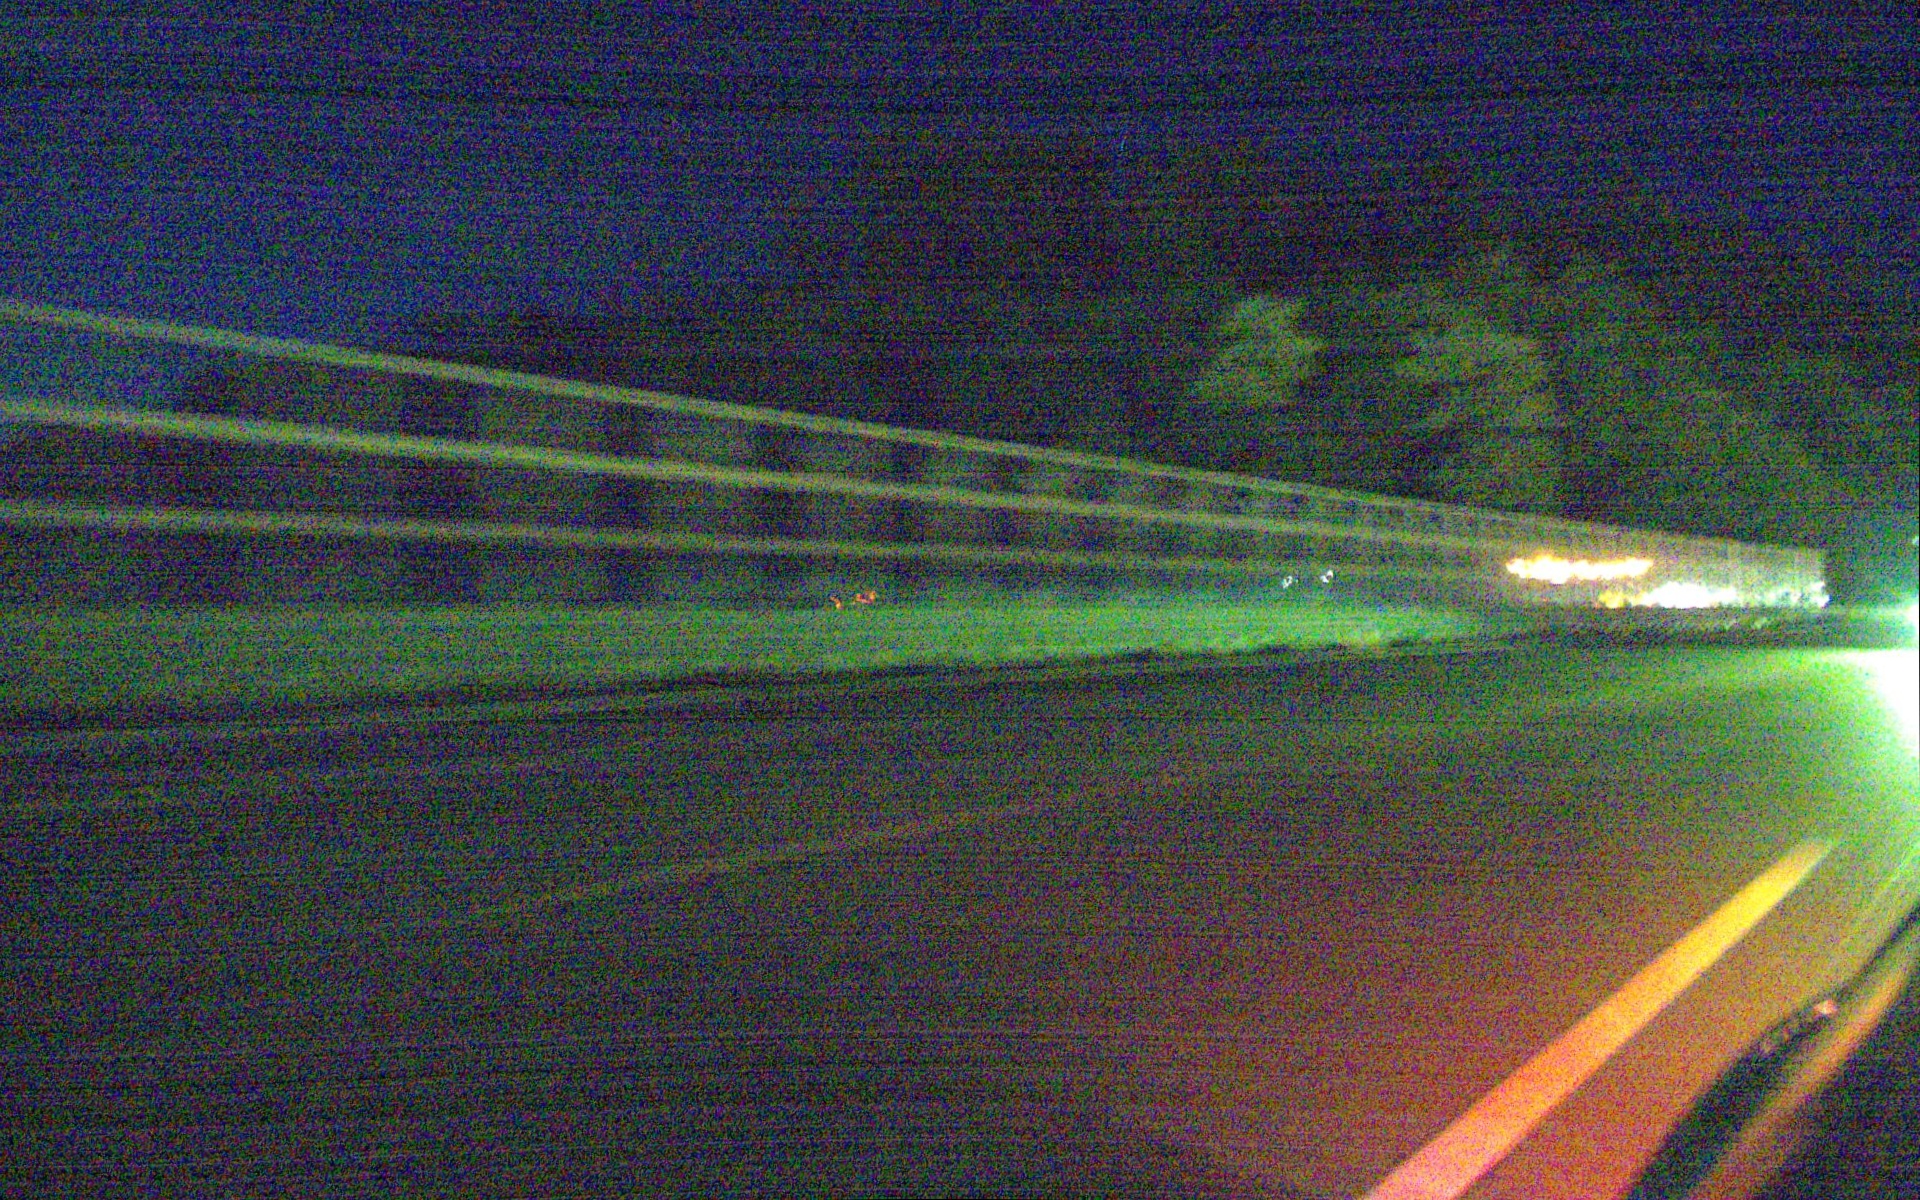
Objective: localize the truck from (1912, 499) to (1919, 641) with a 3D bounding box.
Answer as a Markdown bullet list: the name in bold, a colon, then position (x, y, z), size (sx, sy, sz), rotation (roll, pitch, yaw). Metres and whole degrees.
- **truck**: position (36.615, -0.860, 33.740), size (18.352, 4.187, 3.494), rotation (0, 0, -35)
